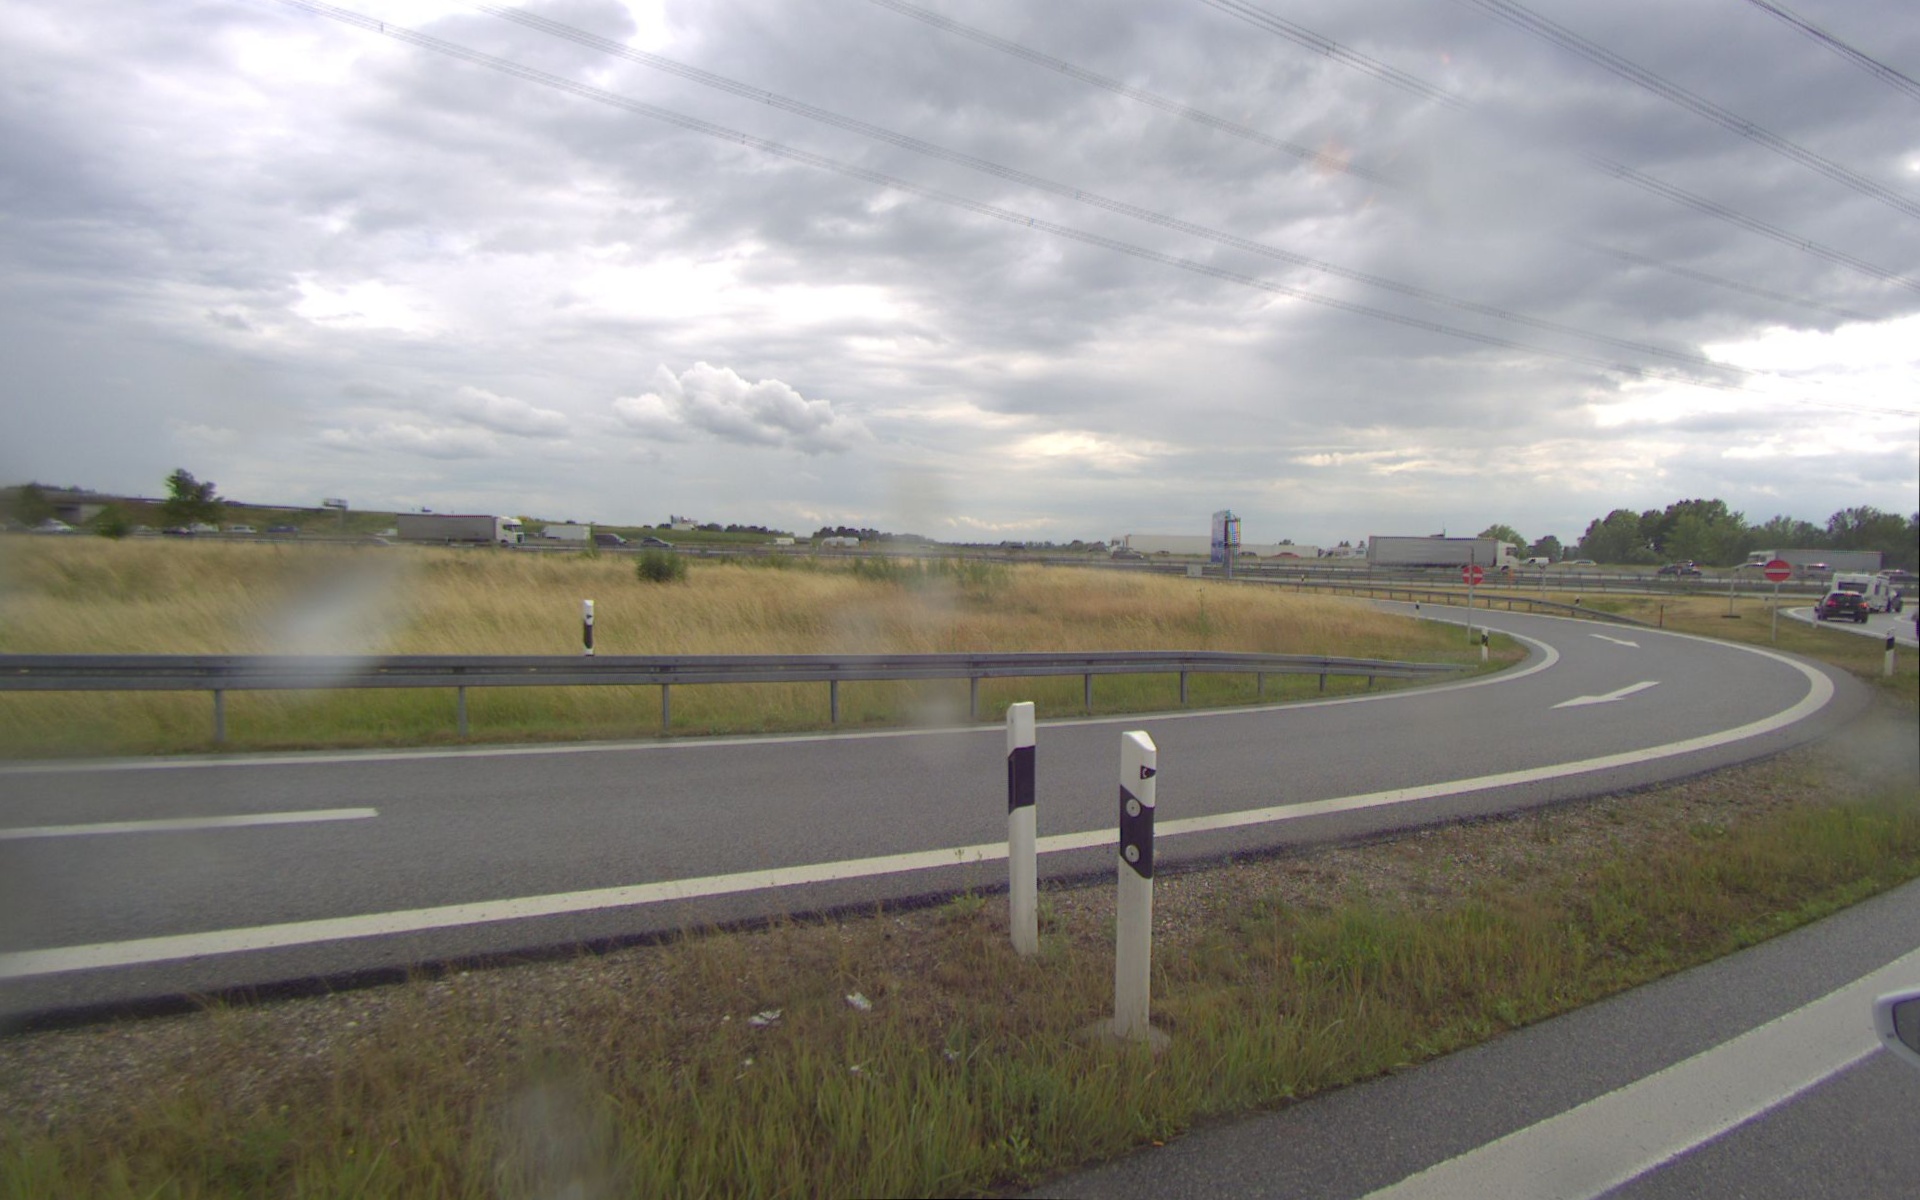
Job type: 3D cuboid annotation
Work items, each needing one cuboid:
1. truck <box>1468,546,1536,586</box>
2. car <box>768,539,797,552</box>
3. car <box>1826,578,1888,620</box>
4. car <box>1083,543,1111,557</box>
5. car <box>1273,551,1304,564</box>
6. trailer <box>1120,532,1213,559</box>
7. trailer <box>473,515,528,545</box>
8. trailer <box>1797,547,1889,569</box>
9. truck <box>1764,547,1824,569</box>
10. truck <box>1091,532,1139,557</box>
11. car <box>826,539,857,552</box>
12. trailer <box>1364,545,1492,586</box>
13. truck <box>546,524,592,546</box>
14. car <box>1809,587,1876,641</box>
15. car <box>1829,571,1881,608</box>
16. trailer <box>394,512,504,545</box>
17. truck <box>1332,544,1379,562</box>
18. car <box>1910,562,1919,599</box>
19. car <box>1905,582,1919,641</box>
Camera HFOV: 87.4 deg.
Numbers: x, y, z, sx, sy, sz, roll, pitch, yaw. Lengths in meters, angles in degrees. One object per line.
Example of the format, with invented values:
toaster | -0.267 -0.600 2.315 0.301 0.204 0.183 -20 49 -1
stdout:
truck | 63.270 -4.013 117.478 6.141 4.628 3.352 0 3 9
car | -26.497 -8.118 150.119 3.919 1.874 1.893 0 3 9
car | 55.957 -0.111 62.786 2.321 2.338 5.108 2 4 36
car | 19.523 -7.145 143.019 3.919 1.874 1.893 0 3 9
car | 47.195 -6.130 144.317 3.919 1.874 1.893 0 3 9
trailer | 31.708 -8.450 154.797 13.816 3.721 2.860 2 4 7
trailer | -59.795 -9.137 130.784 5.778 3.835 2.849 1 3 7
trailer | 126.037 -5.984 143.428 10.272 3.068 2.320 0 3 6
truck | 119.572 -5.970 144.019 6.337 3.068 2.320 0 3 6
truck | 23.986 -8.585 155.625 7.230 3.589 2.825 2 4 6
car | -18.935 -8.766 160.665 4.659 2.041 2.000 0 3 8
trailer | 55.149 -4.098 118.724 13.120 4.680 3.485 0 3 9
truck | -64.514 -10.740 165.768 6.964 3.518 2.000 0 3 7
car | 44.868 0.635 51.044 2.326 2.338 5.097 3 5 43
car | 62.320 -0.765 69.913 2.327 2.338 5.094 3 5 45
trailer | -66.893 -9.341 131.533 13.383 3.834 2.860 2 4 6
truck | 59.659 -7.107 151.594 6.181 2.534 2.000 0 3 7
car | 82.297 -1.629 82.620 7.097 2.992 3.131 -2 4 -20
car | 33.863 0.483 33.515 2.090 2.045 5.522 3 3 30
